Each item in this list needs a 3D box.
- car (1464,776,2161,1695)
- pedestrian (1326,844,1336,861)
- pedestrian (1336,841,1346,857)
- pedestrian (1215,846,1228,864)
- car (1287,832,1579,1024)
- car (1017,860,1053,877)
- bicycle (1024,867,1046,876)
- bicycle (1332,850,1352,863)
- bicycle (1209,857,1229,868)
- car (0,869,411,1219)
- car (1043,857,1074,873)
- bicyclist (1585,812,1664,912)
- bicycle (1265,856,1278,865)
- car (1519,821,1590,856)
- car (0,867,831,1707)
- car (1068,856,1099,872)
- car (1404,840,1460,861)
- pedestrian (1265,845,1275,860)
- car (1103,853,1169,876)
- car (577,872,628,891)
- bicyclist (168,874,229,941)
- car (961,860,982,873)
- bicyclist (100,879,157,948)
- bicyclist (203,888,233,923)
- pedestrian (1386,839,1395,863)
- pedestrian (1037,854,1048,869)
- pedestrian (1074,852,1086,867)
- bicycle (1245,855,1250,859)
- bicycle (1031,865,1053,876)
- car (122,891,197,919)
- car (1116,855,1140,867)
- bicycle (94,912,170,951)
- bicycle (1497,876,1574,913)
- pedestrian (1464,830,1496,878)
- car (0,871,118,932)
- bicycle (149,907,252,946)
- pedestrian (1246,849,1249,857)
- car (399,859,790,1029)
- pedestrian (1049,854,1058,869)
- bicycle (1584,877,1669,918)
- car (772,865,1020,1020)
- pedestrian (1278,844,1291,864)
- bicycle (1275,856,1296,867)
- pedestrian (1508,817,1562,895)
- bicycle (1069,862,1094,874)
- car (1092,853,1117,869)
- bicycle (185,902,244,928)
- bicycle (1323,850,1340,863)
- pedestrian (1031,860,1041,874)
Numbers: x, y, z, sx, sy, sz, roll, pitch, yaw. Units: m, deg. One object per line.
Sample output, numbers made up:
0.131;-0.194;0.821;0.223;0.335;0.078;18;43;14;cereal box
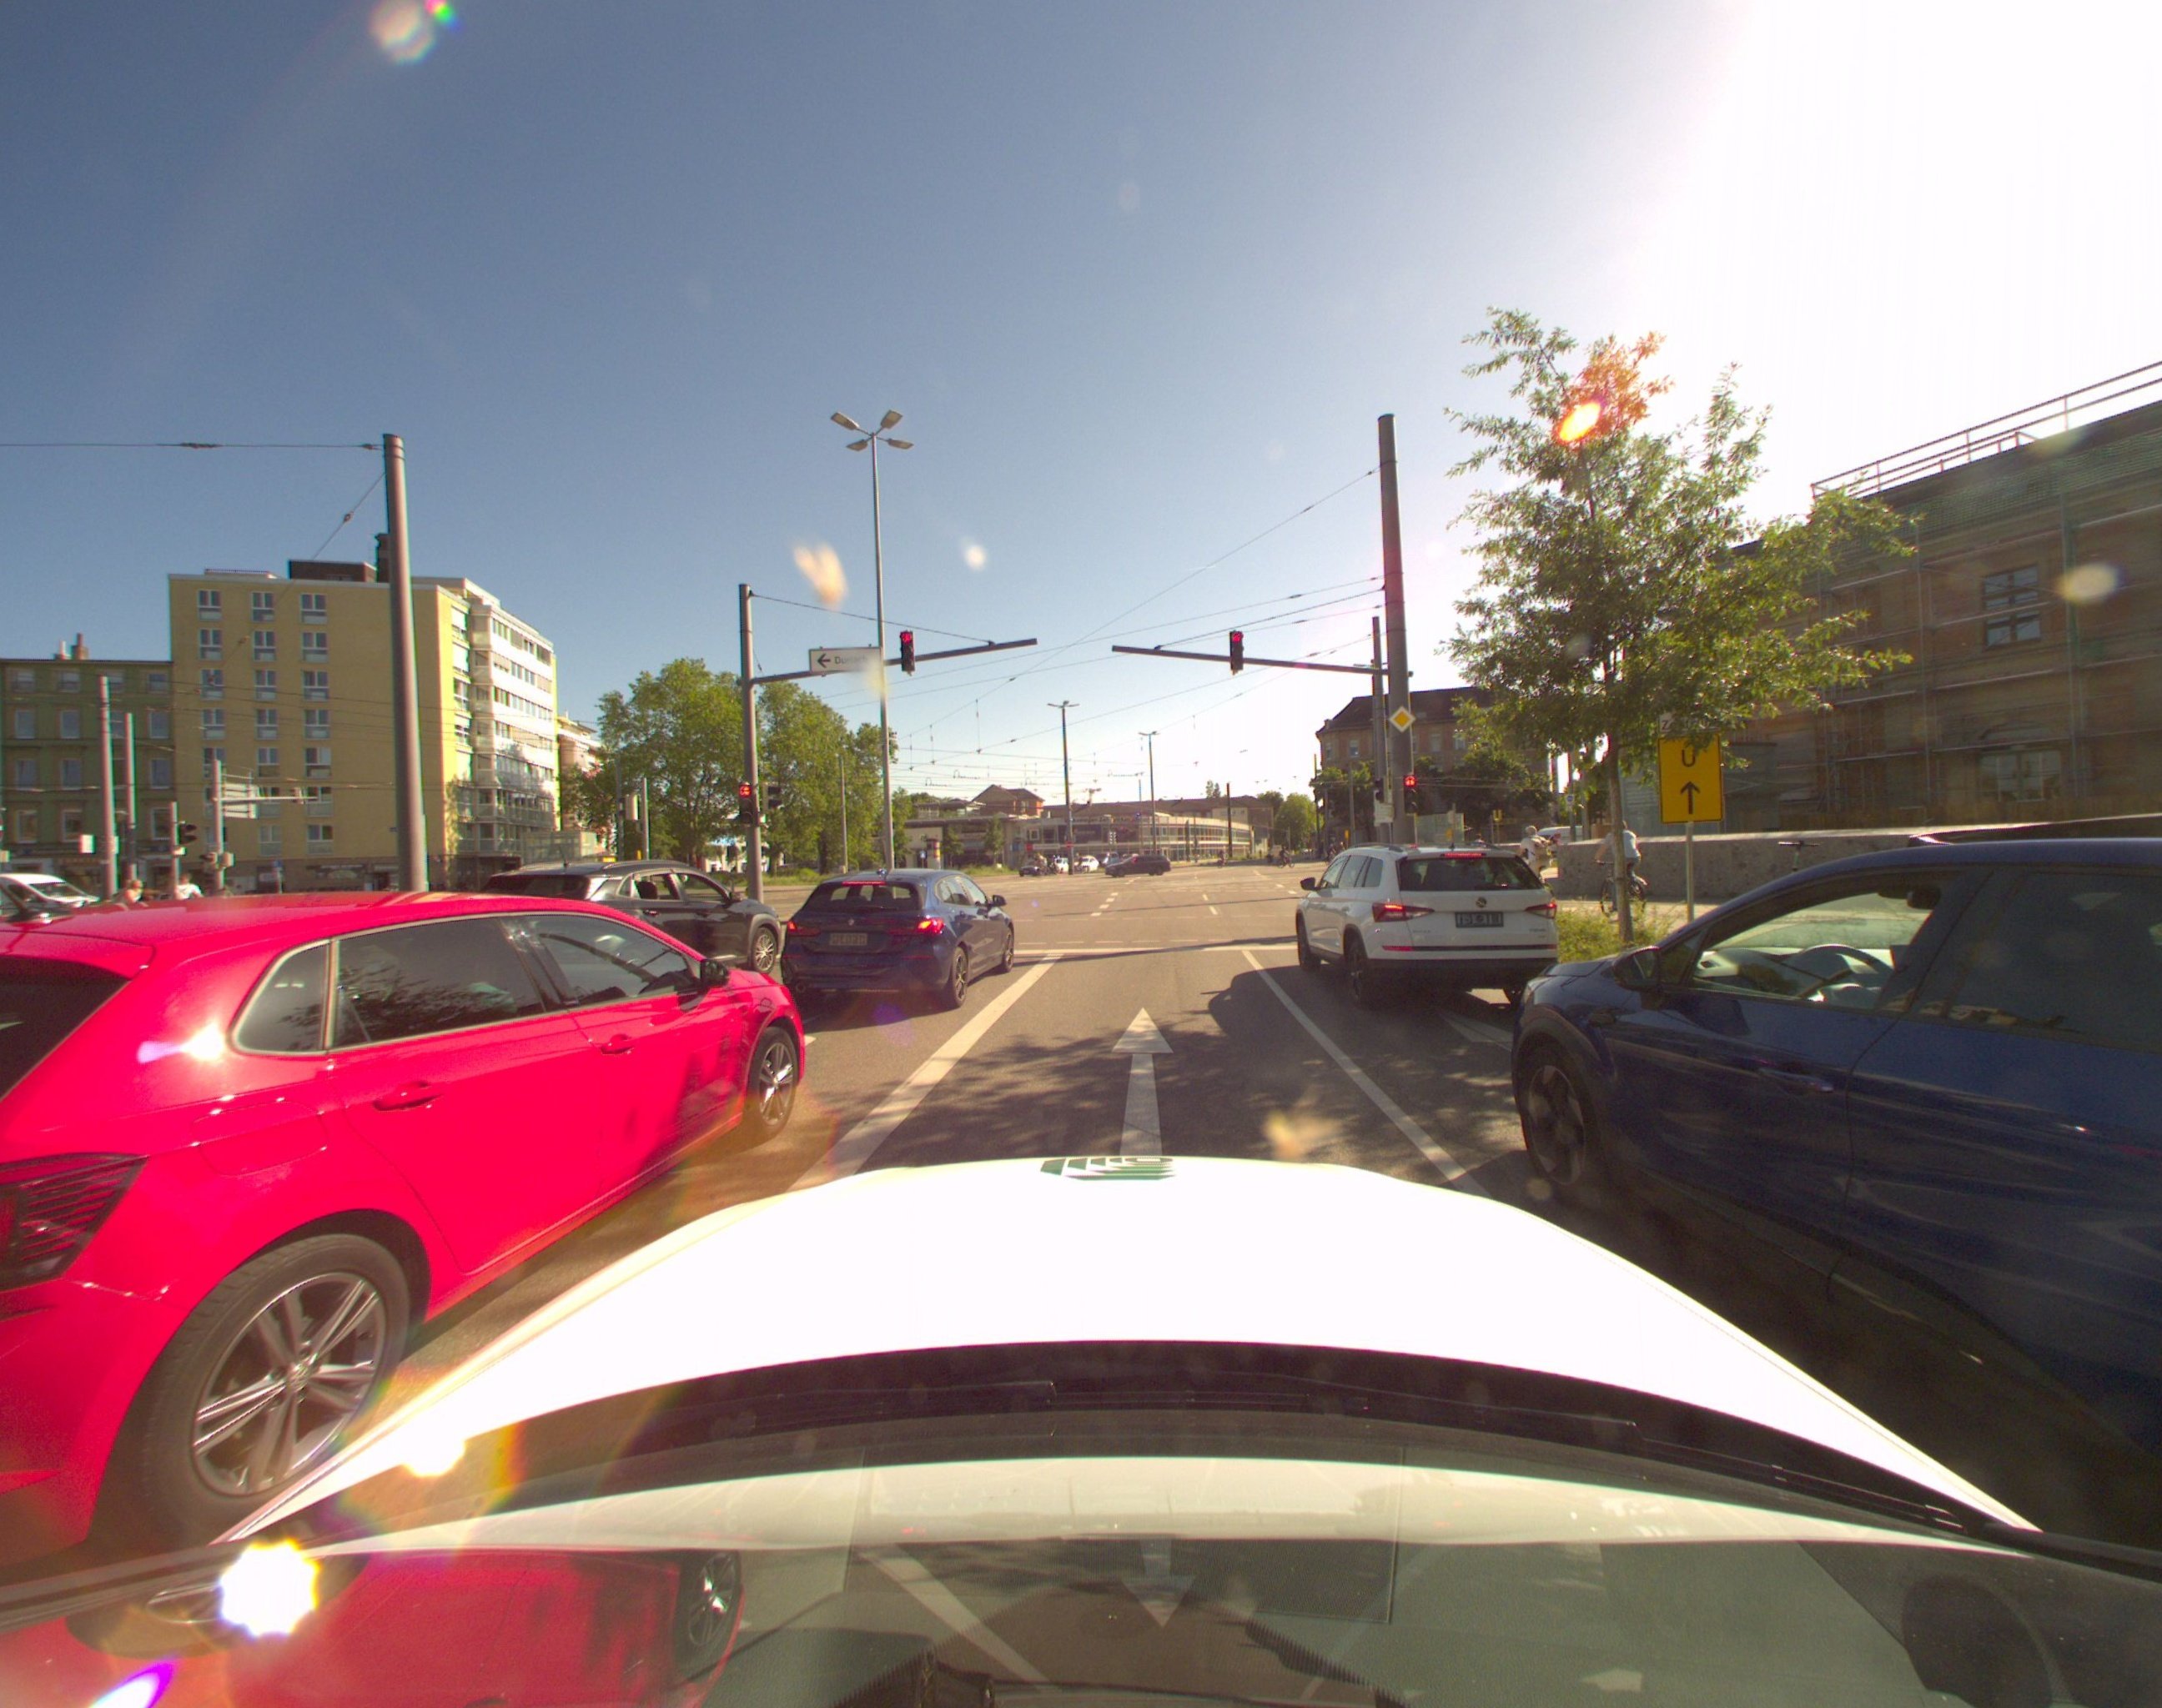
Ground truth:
2.786;0.647;2.314;1.693;1.605;4.088;-2;0;4;car
22.129;-0.135;71.999;0.710;1.517;0.542;-1;-1;-44;pedestrian
24.297;-0.474;76.022;0.709;1.517;0.543;-2;-1;-34;pedestrian
13.017;0.134;75.374;0.722;1.632;0.796;-1;-1;-40;pedestrian
3.640;0.663;9.325;1.687;1.642;4.302;-2;0;4;car
-3.990;1.275;71.444;1.688;1.354;3.721;-2;0;22;car
-3.717;1.413;65.827;1.632;0.718;0.422;-2;0;-15;bicycle
24.389;0.235;76.059;2.027;1.120;0.544;-2;-1;-34;bicycle
12.699;0.782;75.031;1.941;0.870;0.736;-2;-1;-40;bicycle
-5.527;0.858;3.187;1.702;1.473;4.755;-2;0;2;car
-2.118;1.003;77.271;1.612;1.424;3.704;-2;0;20;car
10.091;0.148;15.158;0.745;1.779;0.923;-3;-1;-2;bicyclist
19.244;0.648;82.395;0.736;0.870;1.943;-2;0;29;bicycle
40.375;-1.355;69.438;5.931;2.744;2.127;-2;0;-24;car
-2.562;0.824;3.300;1.662;1.473;3.857;-1;0;4;car
0.261;0.922;75.175;1.612;1.382;3.757;-2;0;20;car
27.859;-0.276;64.600;4.273;1.503;1.690;-2;0;-26;car
19.083;-0.126;82.171;0.739;1.523;0.722;-2;-1;29;pedestrian
3.865;0.737;57.329;4.217;1.400;1.850;-2;0;-15;car
-45.170;2.582;76.965;3.738;1.662;1.587;-2;0;-14;car
-22.943;1.378;21.185;0.780;1.654;0.678;-2;0;-1;bicyclist
-14.937;1.661;111.585;1.956;1.706;4.089;-2;0;5;car
-23.462;1.458;20.074;0.775;1.654;0.682;-2;-1;23;bicyclist
-37.099;2.200;35.010;0.613;1.443;0.617;-2;0;5;bicyclist
26.127;-0.271;68.756;0.461;2.013;0.450;-2;0;-12;pedestrian
-3.031;0.590;63.619;0.749;1.204;0.421;-2;0;-18;pedestrian
-0.080;0.484;67.683;0.795;1.204;0.557;-2;0;-15;pedestrian
28.167;0.514;137.664;0.419;0.718;1.484;-2;0;25;bicycle
-3.047;1.272;63.601;1.633;0.759;0.421;-2;0;-18;bicycle
-53.472;2.963;47.250;3.832;1.427;1.787;-2;0;24;car
5.562;0.796;95.975;1.612;1.364;3.705;-2;0;22;car
-23.286;1.901;19.979;1.875;0.878;0.682;-2;0;24;bicycle
9.410;0.826;16.926;0.535;0.655;1.724;-5;0;-2;bicycle
15.752;-0.012;32.148;0.887;1.859;0.933;-3;-1;40;pedestrian
-46.735;2.122;35.829;5.409;2.508;1.990;-2;0;-14;car
-22.864;1.888;21.175;1.886;0.878;0.678;-2;0;-1;bicycle
28.164;-0.172;137.716;0.419;1.204;0.684;-2;0;25;pedestrian
-5.220;0.850;9.489;1.748;1.517;4.018;-1;0;8;car
-2.391;0.657;71.060;0.419;1.204;0.754;-2;0;22;pedestrian
10.107;0.791;15.154;0.535;0.655;1.466;-3;0;-2;bicycle
-1.939;0.871;9.817;1.702;1.445;4.038;-1;0;6;car
17.391;0.001;69.558;0.721;1.632;0.750;-2;-1;-37;pedestrian
17.484;0.602;69.585;1.940;0.870;0.737;-2;-1;-38;bicycle
9.385;0.038;16.856;0.547;1.562;0.857;-2;-1;-3;pedestrian
0.055;1.143;67.707;2.008;0.913;0.559;-2;-1;-15;bicycle
2.588;0.741;89.067;1.612;1.692;3.704;-2;0;20;car
-37.088;2.602;34.900;0.613;0.945;1.688;-2;0;5;bicycle
22.163;0.243;72.034;2.031;1.120;0.542;-2;-1;-44;bicycle
-3.646;1.042;65.852;0.748;1.127;0.422;-2;0;-15;pedestrian
